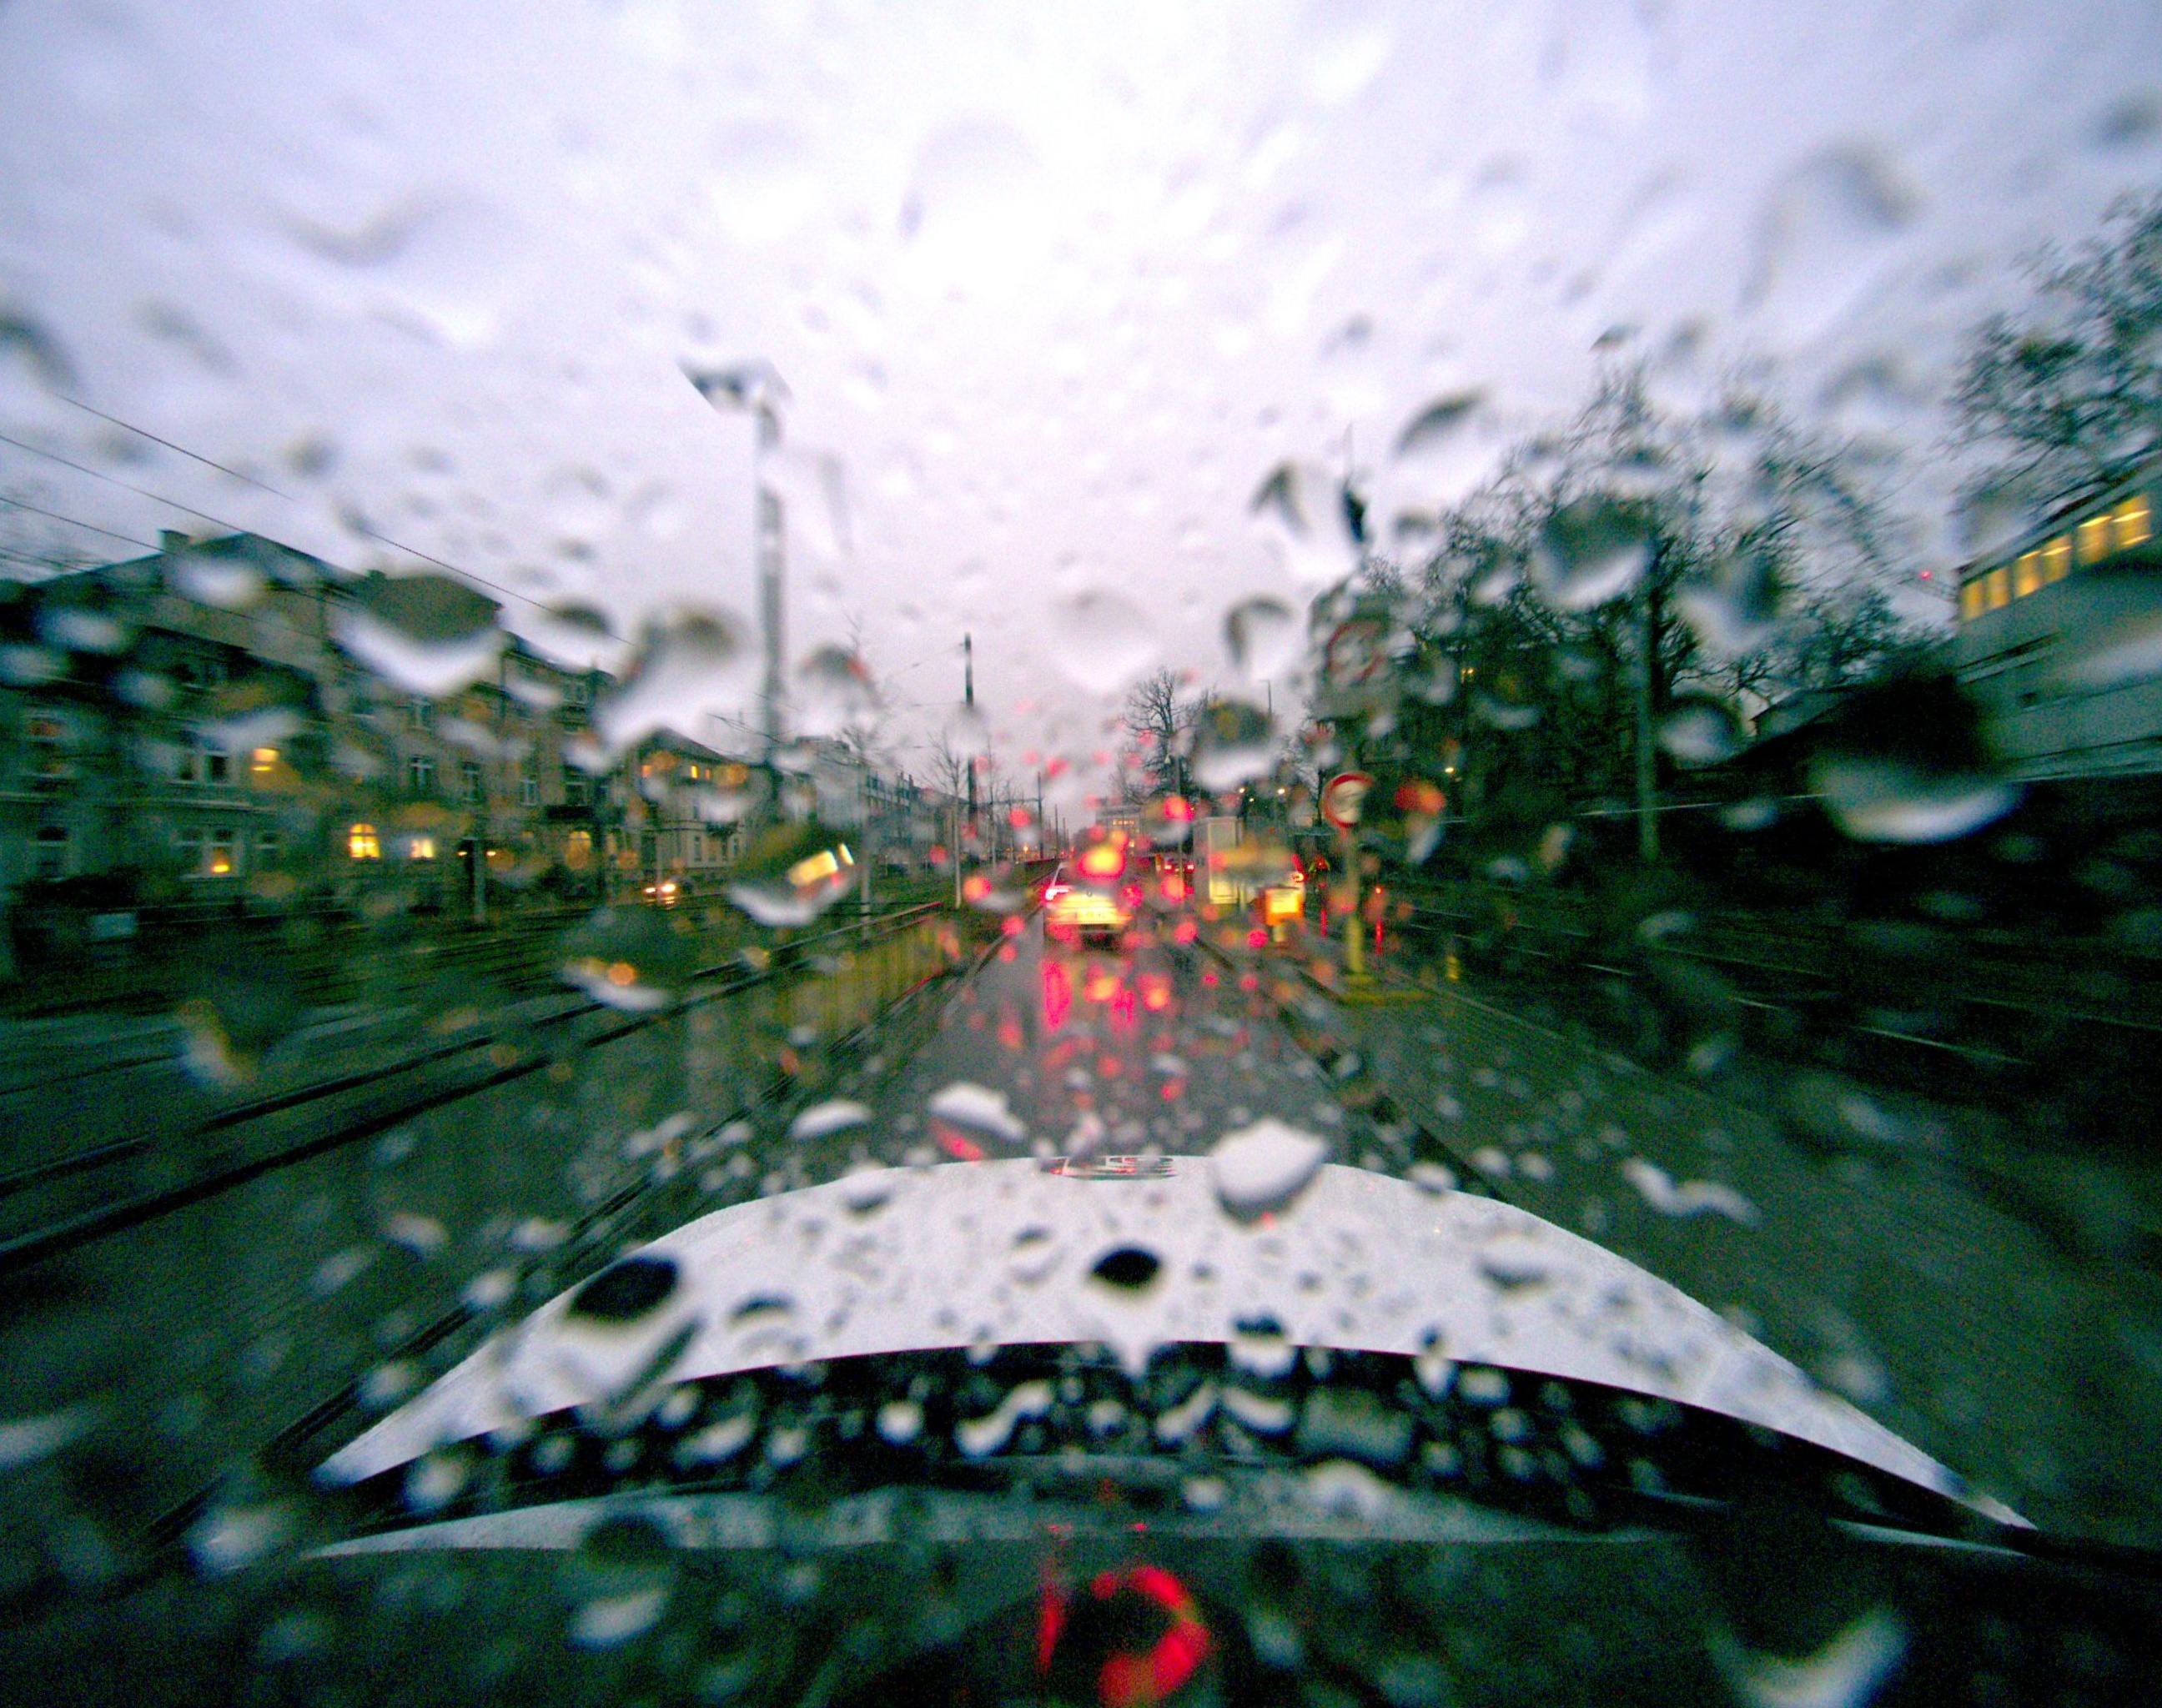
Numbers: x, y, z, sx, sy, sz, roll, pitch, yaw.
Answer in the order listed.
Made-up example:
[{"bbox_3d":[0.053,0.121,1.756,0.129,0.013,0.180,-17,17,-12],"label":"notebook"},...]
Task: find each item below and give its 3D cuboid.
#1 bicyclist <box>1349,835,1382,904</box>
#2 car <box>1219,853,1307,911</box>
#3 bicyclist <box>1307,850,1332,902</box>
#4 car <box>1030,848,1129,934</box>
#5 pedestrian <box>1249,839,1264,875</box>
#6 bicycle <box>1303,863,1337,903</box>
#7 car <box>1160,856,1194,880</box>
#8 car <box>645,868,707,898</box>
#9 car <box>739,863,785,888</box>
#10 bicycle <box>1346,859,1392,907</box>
[{"bbox_3d":[7.479,0.402,21.438,0.498,1.767,0.836,-2,0,-2],"label":"bicyclist"},{"bbox_3d":[5.009,0.751,22.903,1.716,1.479,4.001,0,-1,2],"label":"car"},{"bbox_3d":[7.580,0.689,25.897,0.498,1.591,0.836,-2,0,-2],"label":"bicyclist"},{"bbox_3d":[0.034,0.669,16.063,1.716,1.479,4.001,0,-1,2],"label":"car"},{"bbox_3d":[9.415,0.165,43.700,0.530,1.880,0.900,-2,0,-1],"label":"pedestrian"},{"bbox_3d":[7.585,0.895,25.902,0.410,1.185,1.947,-2,0,-1],"label":"bicycle"},{"bbox_3d":[5.480,0.804,46.991,1.617,1.299,4.001,0,-1,2],"label":"car"},{"bbox_3d":[-26.231,1.837,52.878,1.988,1.692,4.108,-3,0,-2],"label":"car"},{"bbox_3d":[-27.088,1.769,69.289,1.988,1.933,4.908,-3,0,-2],"label":"car"},{"bbox_3d":[7.511,0.731,21.332,0.410,1.185,2.028,-2,0,-1],"label":"bicycle"}]
